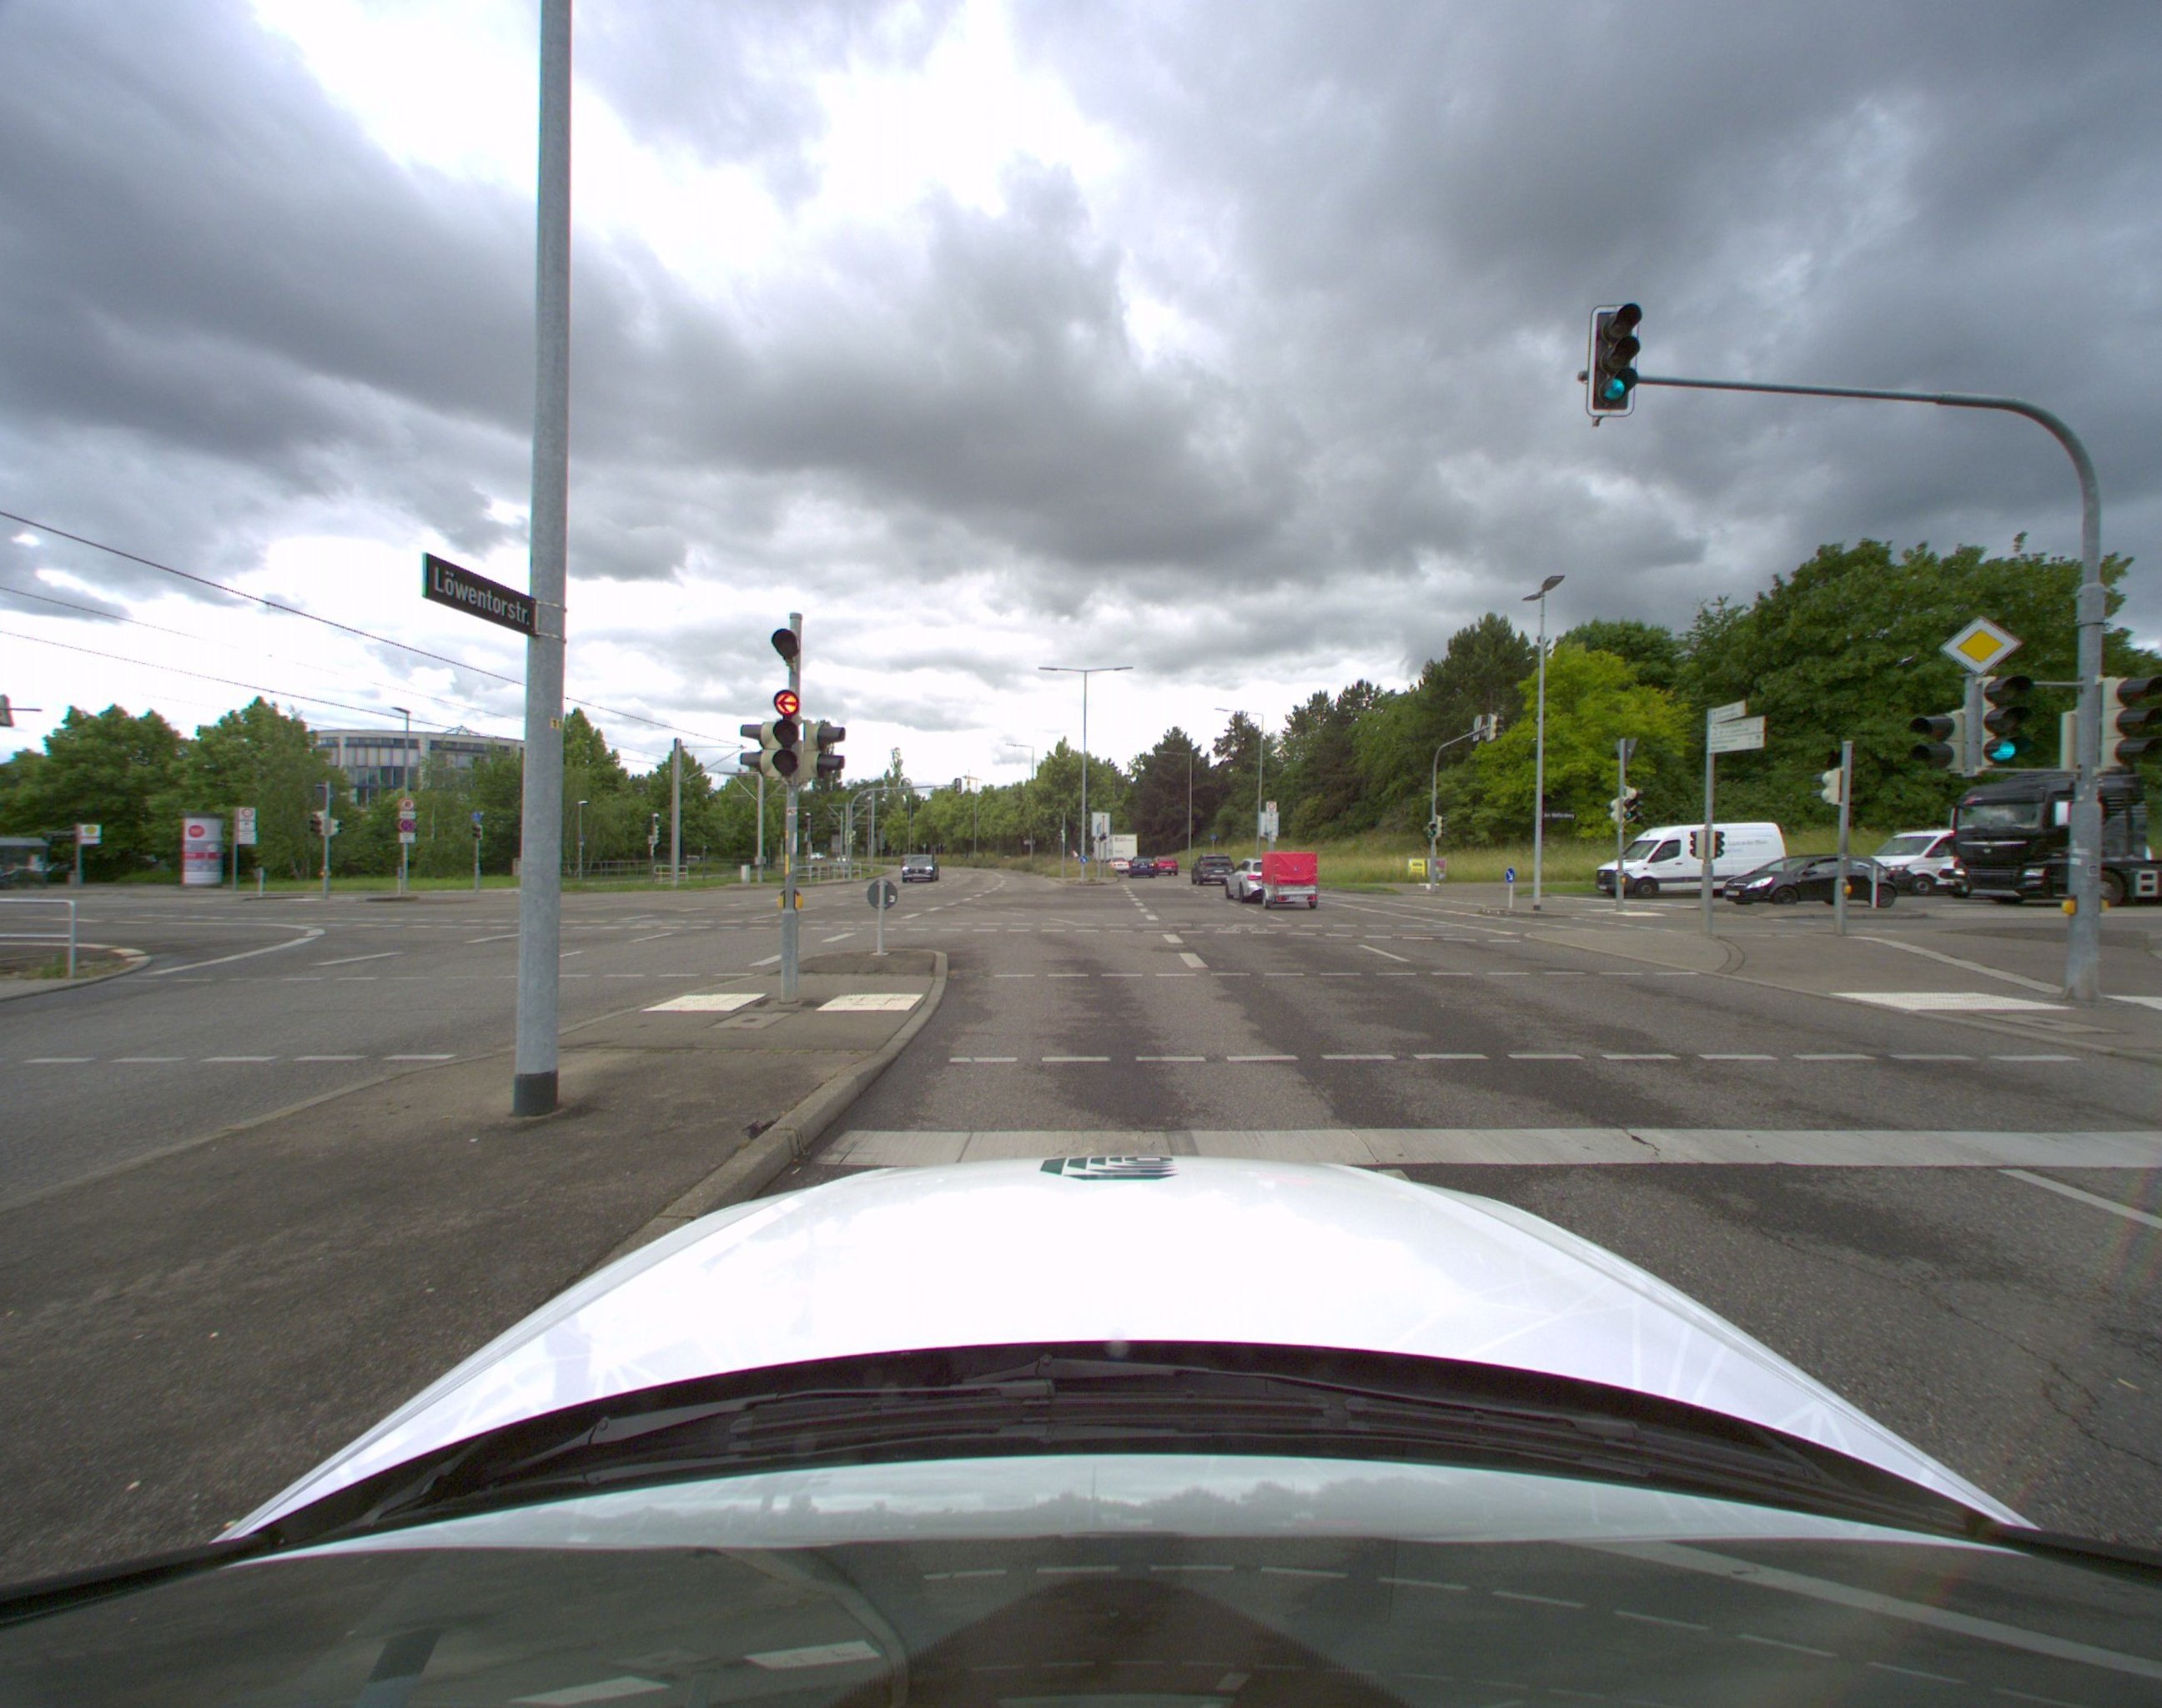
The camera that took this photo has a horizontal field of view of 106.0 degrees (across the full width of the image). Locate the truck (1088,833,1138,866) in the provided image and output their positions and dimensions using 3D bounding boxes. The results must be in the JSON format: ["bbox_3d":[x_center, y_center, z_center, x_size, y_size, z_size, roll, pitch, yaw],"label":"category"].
[{"bbox_3d":[3.285,-0.458,87.620,2.741,3.328,11.361,0,0,-11],"label":"truck"}]

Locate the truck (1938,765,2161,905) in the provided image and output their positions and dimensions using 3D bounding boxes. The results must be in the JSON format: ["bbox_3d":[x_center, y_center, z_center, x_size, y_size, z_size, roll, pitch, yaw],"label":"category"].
[{"bbox_3d":[27.932,-0.515,22.263,6.027,3.538,2.729,-1,0,2],"label":"truck"}]

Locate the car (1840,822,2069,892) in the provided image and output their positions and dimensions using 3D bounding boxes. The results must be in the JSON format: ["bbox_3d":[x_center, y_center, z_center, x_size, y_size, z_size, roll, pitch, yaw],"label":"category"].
[{"bbox_3d":[30.681,0.109,28.757,5.677,2.289,2.136,-1,0,2],"label":"car"}]

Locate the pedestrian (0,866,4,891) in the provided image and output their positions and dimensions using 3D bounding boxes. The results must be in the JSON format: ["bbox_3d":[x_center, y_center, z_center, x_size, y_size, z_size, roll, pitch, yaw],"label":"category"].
[{"bbox_3d":[-57.768,1.296,43.123,0.774,1.303,0.666,0,0,15],"label":"pedestrian"}]

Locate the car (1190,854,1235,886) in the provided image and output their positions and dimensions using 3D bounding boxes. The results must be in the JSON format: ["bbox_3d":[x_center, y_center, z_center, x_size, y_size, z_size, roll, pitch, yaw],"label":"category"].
[{"bbox_3d":[6.823,0.804,42.566,1.772,1.546,4.025,0,0,1],"label":"car"}]

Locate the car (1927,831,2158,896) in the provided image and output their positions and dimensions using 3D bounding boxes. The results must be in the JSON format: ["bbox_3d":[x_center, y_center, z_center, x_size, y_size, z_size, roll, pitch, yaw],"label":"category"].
[{"bbox_3d":[30.274,0.295,25.767,4.836,1.896,2.034,-1,0,1],"label":"car"}]

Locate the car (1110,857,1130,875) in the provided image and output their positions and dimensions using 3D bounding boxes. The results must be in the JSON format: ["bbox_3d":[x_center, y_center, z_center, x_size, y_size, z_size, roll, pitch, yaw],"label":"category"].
[{"bbox_3d":[3.590,1.092,75.432,1.772,1.546,4.025,0,0,1],"label":"car"}]

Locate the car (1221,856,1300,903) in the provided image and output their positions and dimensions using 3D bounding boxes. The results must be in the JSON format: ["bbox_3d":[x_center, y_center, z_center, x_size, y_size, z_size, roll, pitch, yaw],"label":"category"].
[{"bbox_3d":[6.020,0.812,27.803,1.772,1.421,4.459,0,0,1],"label":"car"}]

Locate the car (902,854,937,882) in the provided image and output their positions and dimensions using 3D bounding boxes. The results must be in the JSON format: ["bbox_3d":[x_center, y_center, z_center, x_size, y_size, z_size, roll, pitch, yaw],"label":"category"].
[{"bbox_3d":[-9.633,0.805,48.823,1.777,1.546,4.213,0,0,-8],"label":"car"}]

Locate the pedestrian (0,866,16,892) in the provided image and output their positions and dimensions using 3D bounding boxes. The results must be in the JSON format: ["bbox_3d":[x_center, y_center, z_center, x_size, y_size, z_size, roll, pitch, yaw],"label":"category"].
[{"bbox_3d":[-56.491,1.308,42.604,0.774,1.304,0.666,0,0,15],"label":"pedestrian"}]

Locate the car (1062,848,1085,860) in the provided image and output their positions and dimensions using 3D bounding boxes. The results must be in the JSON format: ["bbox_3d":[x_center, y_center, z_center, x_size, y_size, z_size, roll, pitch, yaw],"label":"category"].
[{"bbox_3d":[-0.930,-0.004,102.092,1.783,1.546,4.000,-1,0,-18],"label":"car"}]

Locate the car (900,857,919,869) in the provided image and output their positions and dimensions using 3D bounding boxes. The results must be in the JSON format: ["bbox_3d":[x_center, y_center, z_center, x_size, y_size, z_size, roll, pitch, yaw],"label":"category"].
[{"bbox_3d":[-21.541,1.081,102.225,1.787,1.443,4.395,-1,0,-20],"label":"car"}]

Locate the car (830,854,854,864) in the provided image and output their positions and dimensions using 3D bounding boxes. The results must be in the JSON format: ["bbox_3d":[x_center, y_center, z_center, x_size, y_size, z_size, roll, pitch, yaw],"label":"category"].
[{"bbox_3d":[-40.689,0.839,138.683,4.368,1.629,1.846,-1,0,39],"label":"car"}]

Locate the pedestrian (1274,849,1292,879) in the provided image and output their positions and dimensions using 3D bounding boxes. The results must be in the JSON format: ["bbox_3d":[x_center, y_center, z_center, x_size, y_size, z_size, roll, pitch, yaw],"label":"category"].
[{"bbox_3d":[11.325,0.557,45.658,0.811,1.627,0.791,0,0,1],"label":"pedestrian"}]

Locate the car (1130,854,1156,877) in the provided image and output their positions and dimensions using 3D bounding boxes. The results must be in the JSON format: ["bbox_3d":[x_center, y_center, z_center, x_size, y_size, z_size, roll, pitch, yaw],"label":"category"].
[{"bbox_3d":[4.474,0.791,58.524,1.769,1.546,4.031,0,0,6],"label":"car"}]

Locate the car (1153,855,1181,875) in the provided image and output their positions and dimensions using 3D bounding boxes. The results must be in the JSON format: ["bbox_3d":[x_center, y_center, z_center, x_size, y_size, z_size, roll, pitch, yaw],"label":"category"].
[{"bbox_3d":[6.925,0.865,65.778,1.772,1.546,4.024,0,0,0],"label":"car"}]

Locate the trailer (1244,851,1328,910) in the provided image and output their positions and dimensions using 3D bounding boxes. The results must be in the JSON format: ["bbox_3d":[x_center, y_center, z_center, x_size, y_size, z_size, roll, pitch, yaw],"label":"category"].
[{"bbox_3d":[5.975,0.717,24.051,1.759,1.616,3.044,0,0,0],"label":"trailer"}]

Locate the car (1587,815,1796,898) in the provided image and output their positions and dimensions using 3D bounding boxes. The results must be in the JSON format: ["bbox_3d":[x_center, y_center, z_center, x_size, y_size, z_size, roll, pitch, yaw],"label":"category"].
[{"bbox_3d":[21.896,0.094,29.402,5.870,2.781,2.136,-1,0,2],"label":"car"}]

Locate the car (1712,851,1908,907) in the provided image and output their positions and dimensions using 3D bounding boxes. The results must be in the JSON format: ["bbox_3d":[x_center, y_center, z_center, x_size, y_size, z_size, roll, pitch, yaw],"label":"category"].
[{"bbox_3d":[20.278,0.669,22.766,3.905,1.436,1.732,-1,0,1],"label":"car"}]

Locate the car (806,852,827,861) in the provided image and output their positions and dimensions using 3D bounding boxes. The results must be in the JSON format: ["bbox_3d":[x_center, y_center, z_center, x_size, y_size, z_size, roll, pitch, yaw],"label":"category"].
[{"bbox_3d":[-55.493,0.550,170.664,3.949,1.750,2.012,0,0,29],"label":"car"}]
